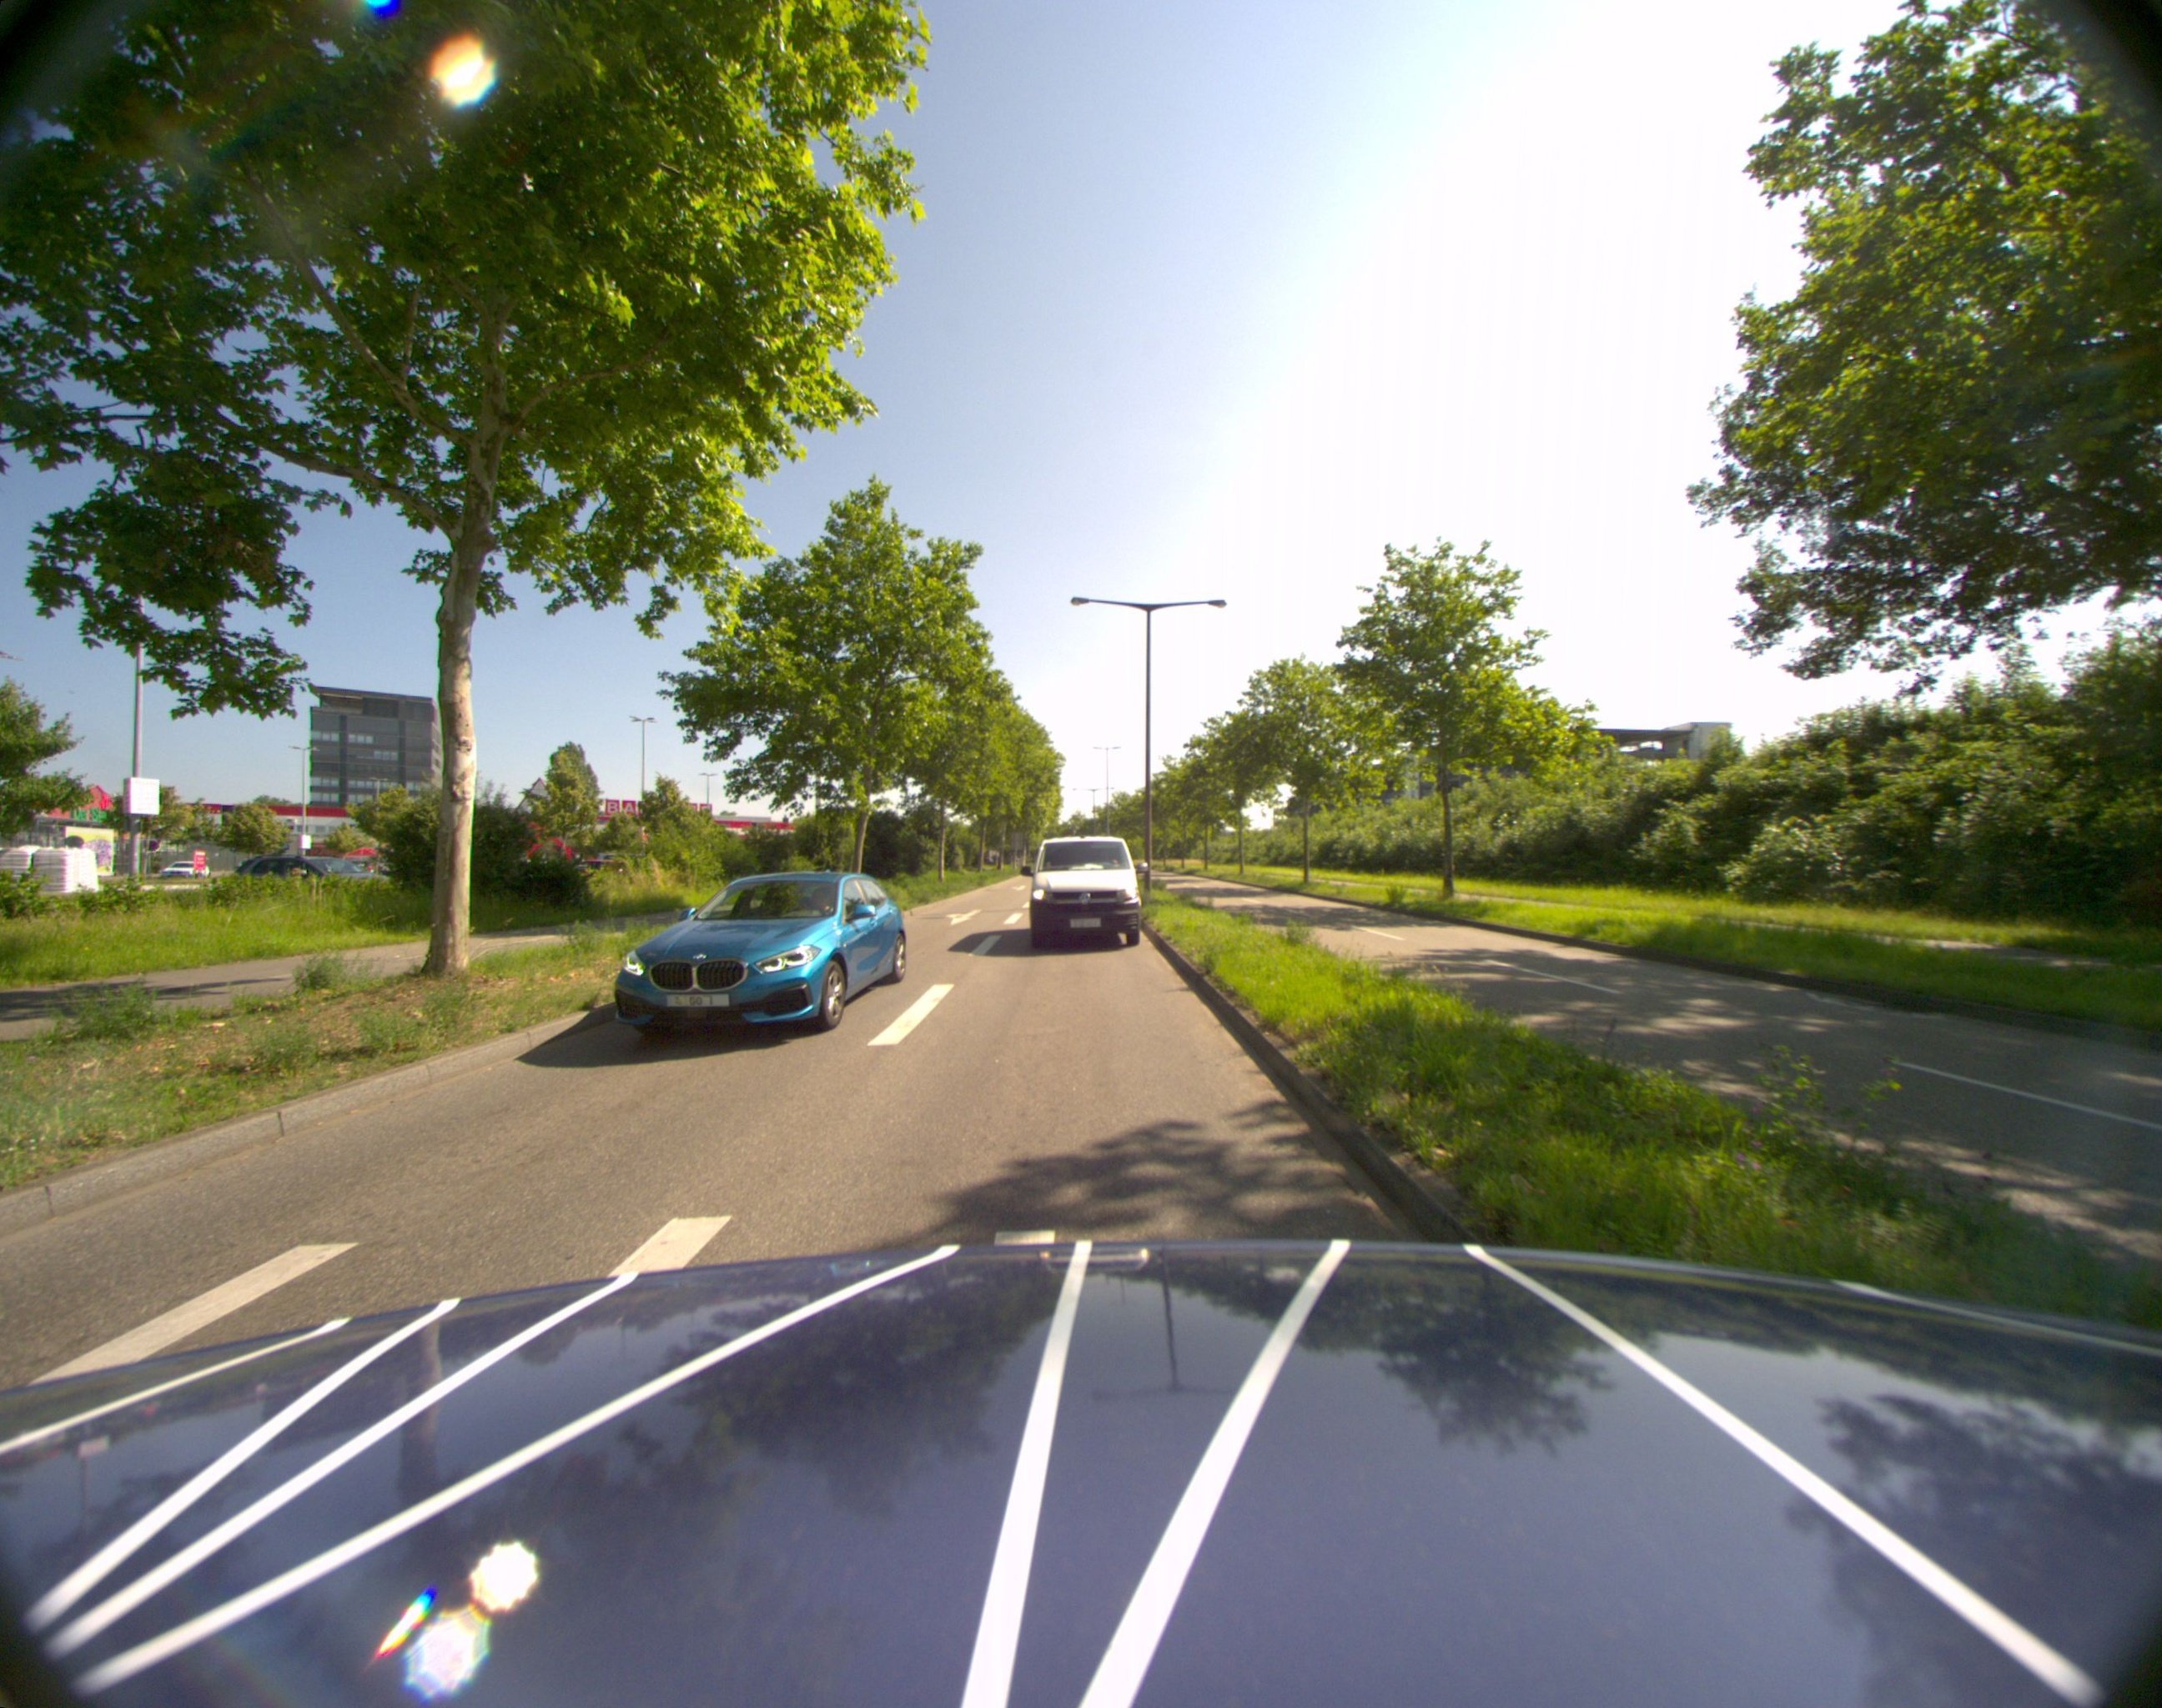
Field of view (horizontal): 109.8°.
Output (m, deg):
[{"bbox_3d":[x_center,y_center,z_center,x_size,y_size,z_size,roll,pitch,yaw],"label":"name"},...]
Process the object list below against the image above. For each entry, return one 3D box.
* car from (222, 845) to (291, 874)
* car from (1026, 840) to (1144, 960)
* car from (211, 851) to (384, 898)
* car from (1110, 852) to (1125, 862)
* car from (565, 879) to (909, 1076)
[{"bbox_3d":[-60.399,0.410,55.764,2.002,2.002,3.991,-2,1,-26],"label":"car"},{"bbox_3d":[0.007,0.723,14.531,1.872,1.889,4.880,0,0,-2],"label":"car"},{"bbox_3d":[-23.217,0.588,22.606,3.527,1.240,1.613,-2,1,3],"label":"car"},{"bbox_3d":[5.906,0.528,121.986,1.705,1.499,3.997,0,0,-8],"label":"car"},{"bbox_3d":[-3.185,1.043,8.092,1.872,1.412,4.129,0,0,-2],"label":"car"}]
